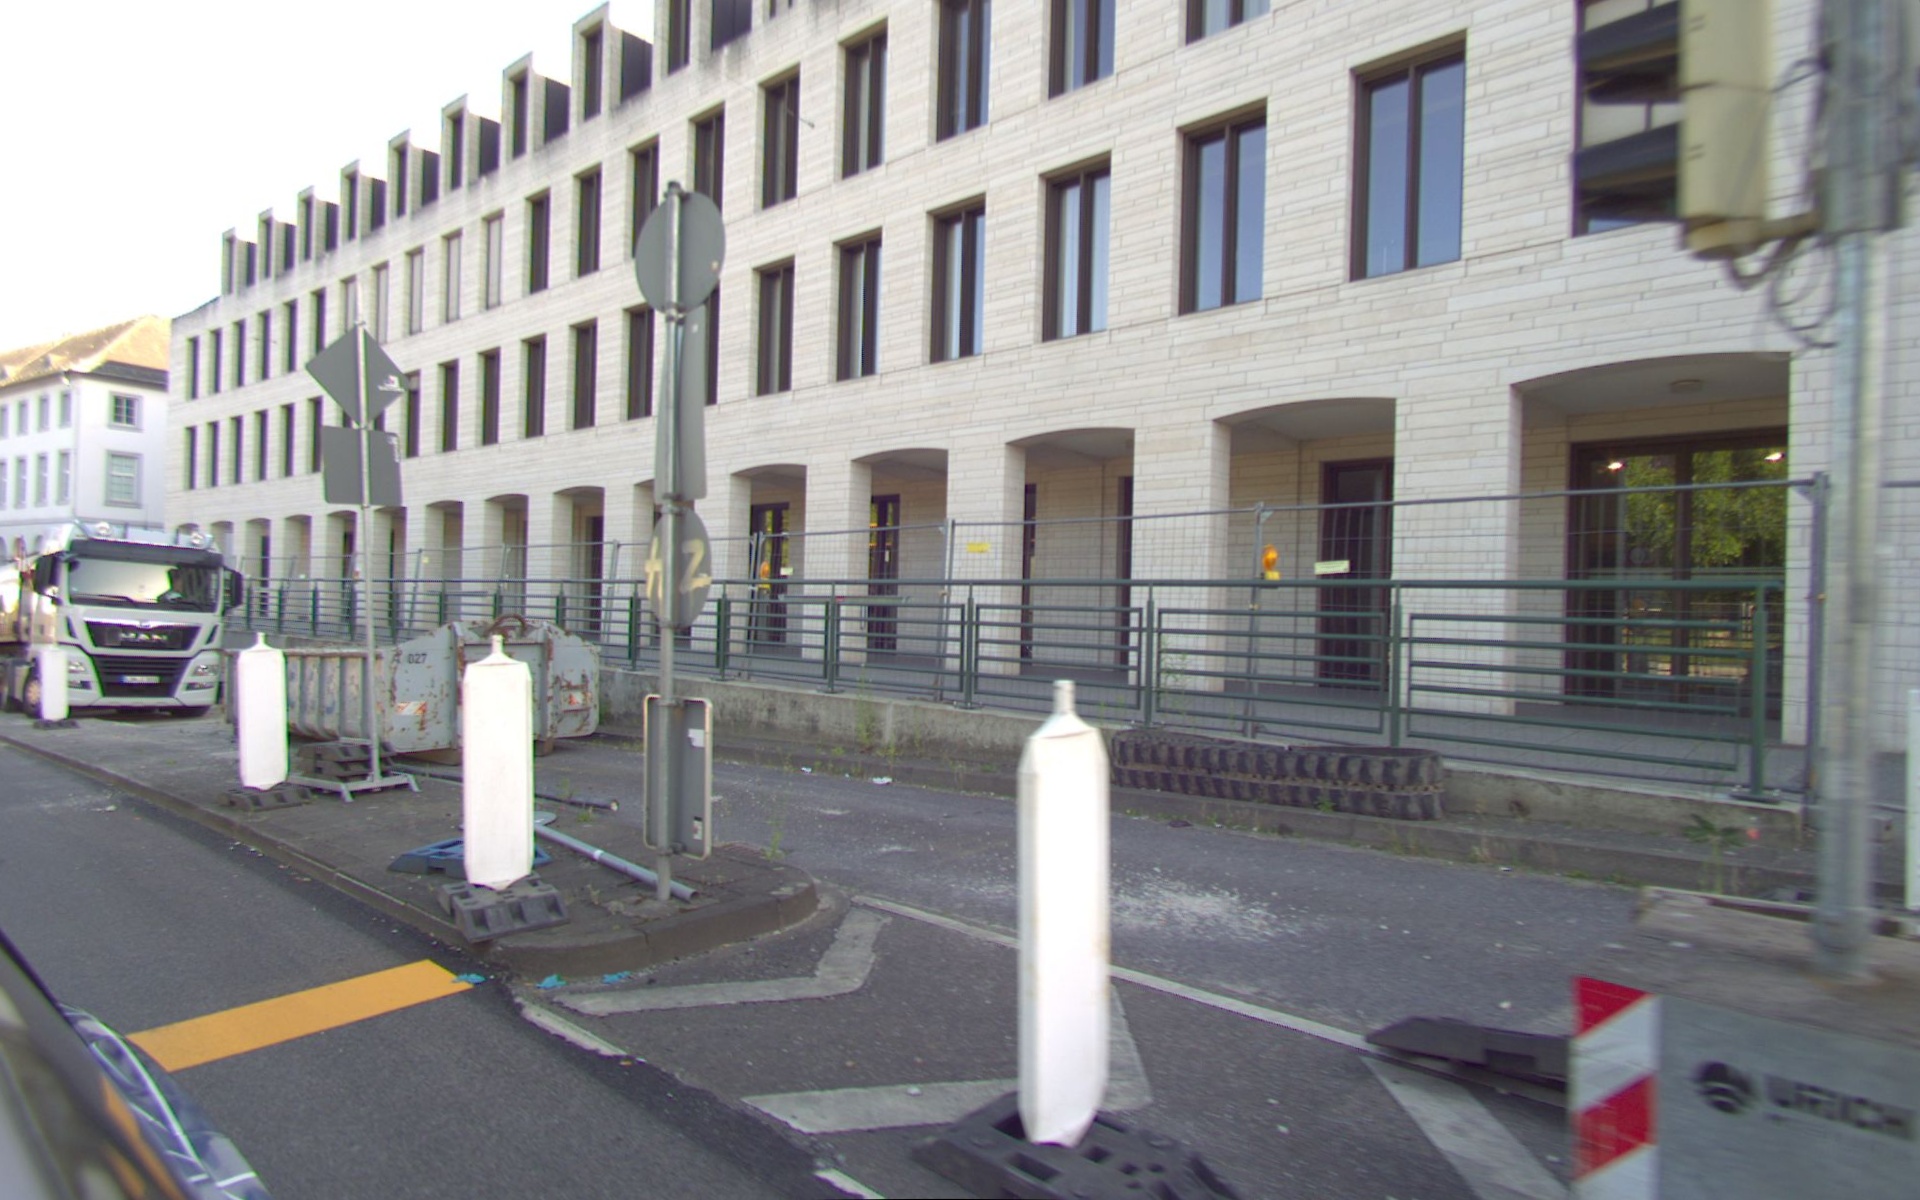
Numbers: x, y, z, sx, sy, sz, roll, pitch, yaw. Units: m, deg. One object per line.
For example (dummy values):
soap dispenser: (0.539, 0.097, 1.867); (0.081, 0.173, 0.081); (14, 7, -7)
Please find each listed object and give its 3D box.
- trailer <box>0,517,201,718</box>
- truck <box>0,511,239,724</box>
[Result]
trailer: (-19.823, 0.584, 22.227); (8.735, 3.697, 2.617); (-3, -7, 38)
truck: (-16.439, 0.498, 19.529); (5.811, 3.516, 2.553); (-3, -7, 40)
